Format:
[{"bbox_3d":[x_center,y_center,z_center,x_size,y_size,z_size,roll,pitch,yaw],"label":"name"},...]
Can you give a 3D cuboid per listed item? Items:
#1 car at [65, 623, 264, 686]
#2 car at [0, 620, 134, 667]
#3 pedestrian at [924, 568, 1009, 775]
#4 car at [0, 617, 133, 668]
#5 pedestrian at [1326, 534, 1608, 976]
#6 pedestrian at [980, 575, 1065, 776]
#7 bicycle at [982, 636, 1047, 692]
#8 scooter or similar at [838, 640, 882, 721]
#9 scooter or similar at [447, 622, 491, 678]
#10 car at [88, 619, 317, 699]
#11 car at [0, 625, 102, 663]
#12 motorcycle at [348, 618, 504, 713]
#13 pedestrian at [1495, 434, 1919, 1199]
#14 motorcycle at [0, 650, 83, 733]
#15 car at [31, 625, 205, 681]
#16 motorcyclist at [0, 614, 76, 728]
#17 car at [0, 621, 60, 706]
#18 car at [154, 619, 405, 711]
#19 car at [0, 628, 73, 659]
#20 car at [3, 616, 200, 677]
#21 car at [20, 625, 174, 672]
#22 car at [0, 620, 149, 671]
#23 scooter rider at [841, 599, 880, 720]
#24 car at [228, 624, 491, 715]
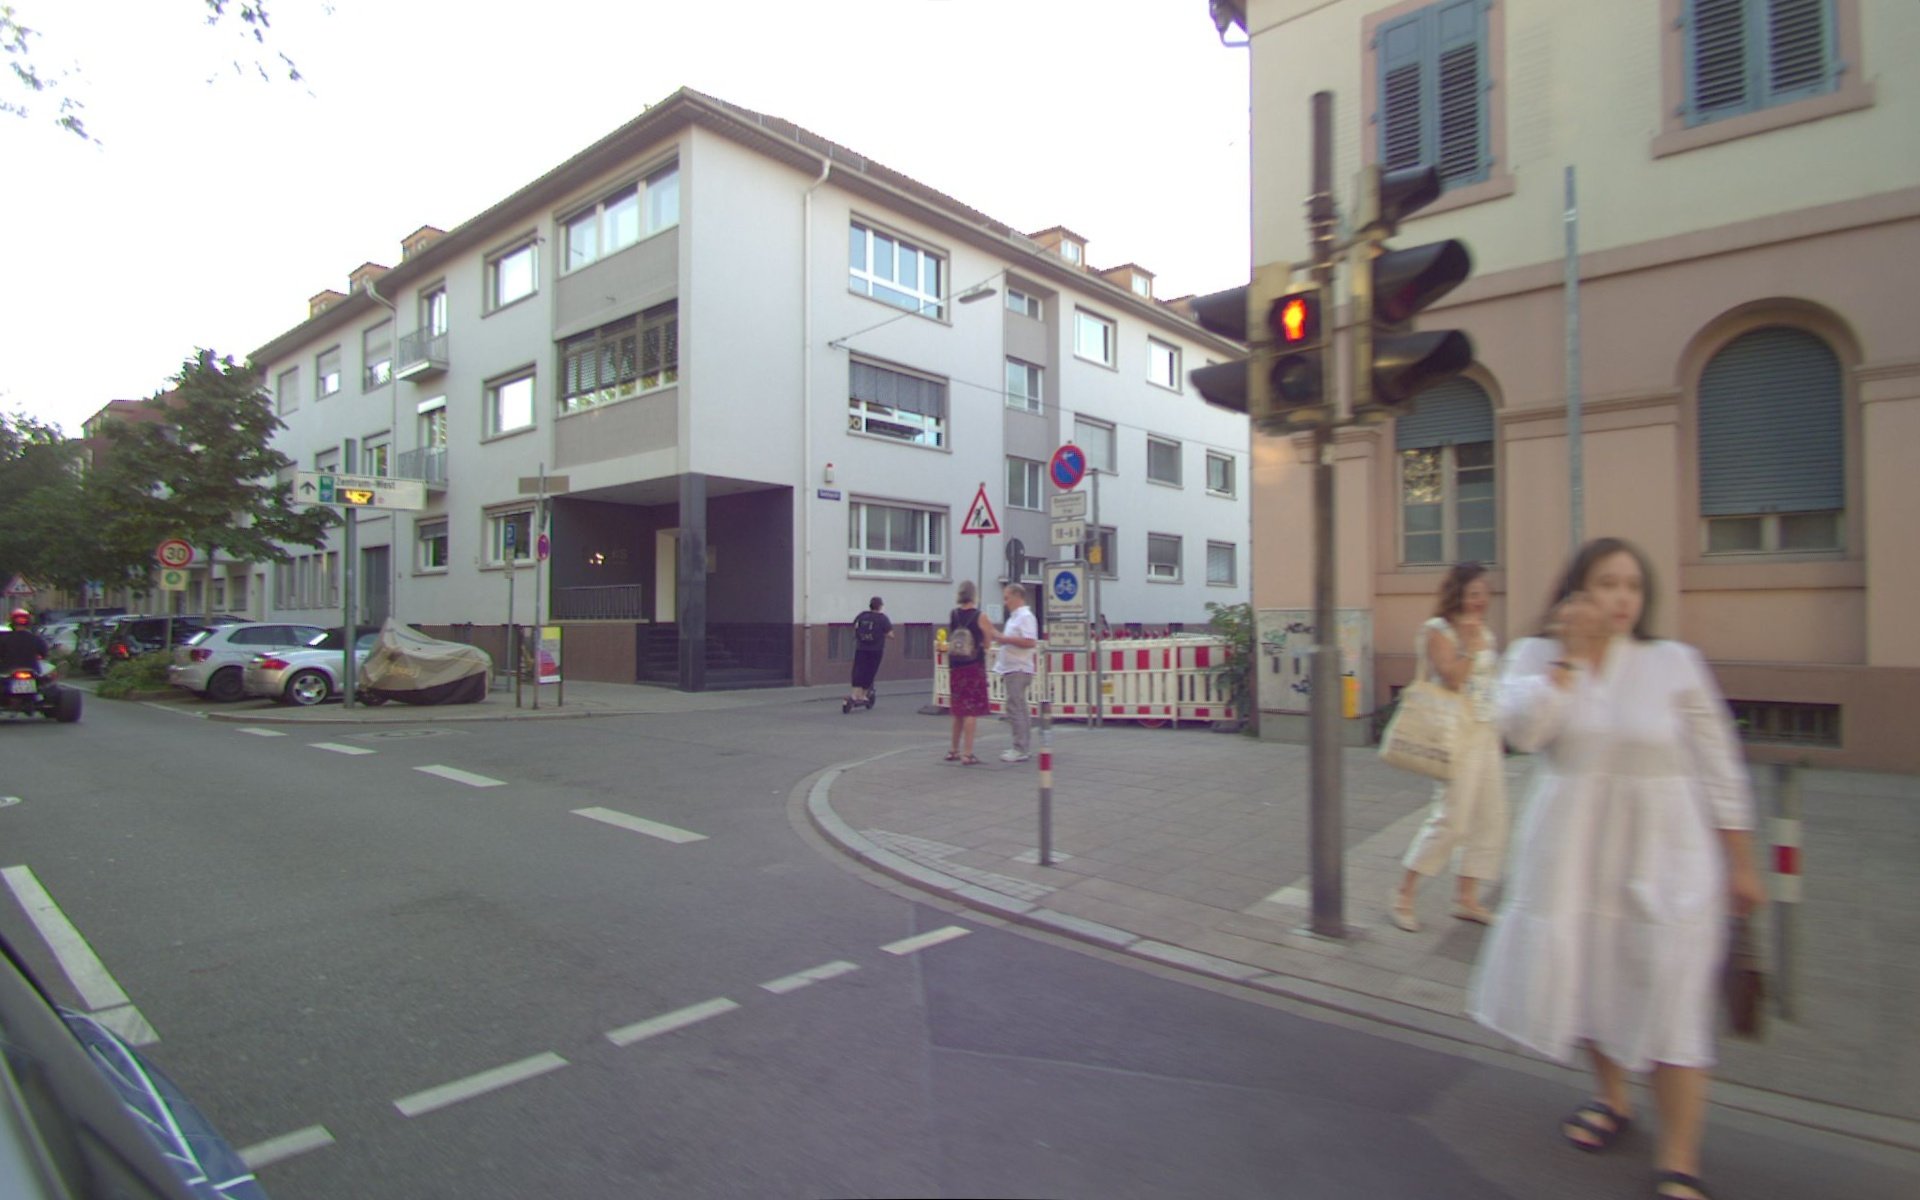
[{"bbox_3d":[-21.664,1.428,27.673,1.754,1.451,4.032,-2,0,42],"label":"car"},{"bbox_3d":[-35.453,1.668,39.783,1.929,1.584,4.310,-2,1,41],"label":"car"},{"bbox_3d":[0.052,0.652,9.509,0.546,1.864,0.613,1,-2,-35],"label":"pedestrian"},{"bbox_3d":[-37.405,1.730,41.621,2.188,2.006,4.940,-2,-2,39],"label":"car"},{"bbox_3d":[2.312,0.630,4.668,0.779,1.804,0.773,-2,0,-25],"label":"pedestrian"},{"bbox_3d":[0.601,0.708,9.801,0.546,1.864,0.613,1,-2,-35],"label":"pedestrian"},{"bbox_3d":[1.283,1.442,23.240,0.720,1.154,2.218,-1,0,25],"label":"bicycle"},{"bbox_3d":[-1.512,1.207,15.459,0.496,1.153,1.249,0,-1,2],"label":"scooter or similar"},{"bbox_3d":[-11.507,1.150,23.699,0.509,1.271,1.421,0,0,-45],"label":"scooter or similar"},{"bbox_3d":[-17.759,1.313,23.861,1.935,1.644,4.049,-2,-1,42],"label":"car"},{"bbox_3d":[-42.723,2.032,46.879,1.771,1.550,4.309,0,1,41],"label":"car"},{"bbox_3d":[-8.504,1.011,16.186,2.118,1.430,0.971,1,-2,-28],"label":"motorcycle"},{"bbox_3d":[1.914,0.601,2.730,0.789,1.902,0.763,-1,-2,29],"label":"pedestrian"},{"bbox_3d":[-13.825,1.286,14.709,2.395,1.098,1.298,-2,-3,41],"label":"motorcycle"},{"bbox_3d":[-26.030,1.588,31.359,1.781,1.505,3.983,-2,0,44],"label":"car"},{"bbox_3d":[-13.727,1.007,14.637,1.077,1.604,1.266,-2,-2,41],"label":"motorcyclist"},{"bbox_3d":[-19.433,1.203,19.848,4.268,1.561,1.859,-1,-3,37],"label":"car"},{"bbox_3d":[-13.068,1.176,19.598,1.734,1.469,3.704,-2,0,40],"label":"car"},{"bbox_3d":[-46.764,2.161,49.866,1.715,1.417,4.383,0,1,37],"label":"car"},{"bbox_3d":[-27.845,1.451,32.947,2.155,1.778,4.618,-2,-1,40],"label":"car"},{"bbox_3d":[-29.668,1.649,34.861,1.854,1.462,3.805,-3,-2,41],"label":"car"},{"bbox_3d":[-33.192,1.668,37.919,1.823,1.603,4.112,-2,1,41],"label":"car"},{"bbox_3d":[-1.513,0.894,15.517,0.489,1.805,0.874,0,-2,1],"label":"scooter rider"},{"bbox_3d":[-10.630,1.152,18.063,1.845,1.321,3.697,-2,0,45],"label":"car"}]
